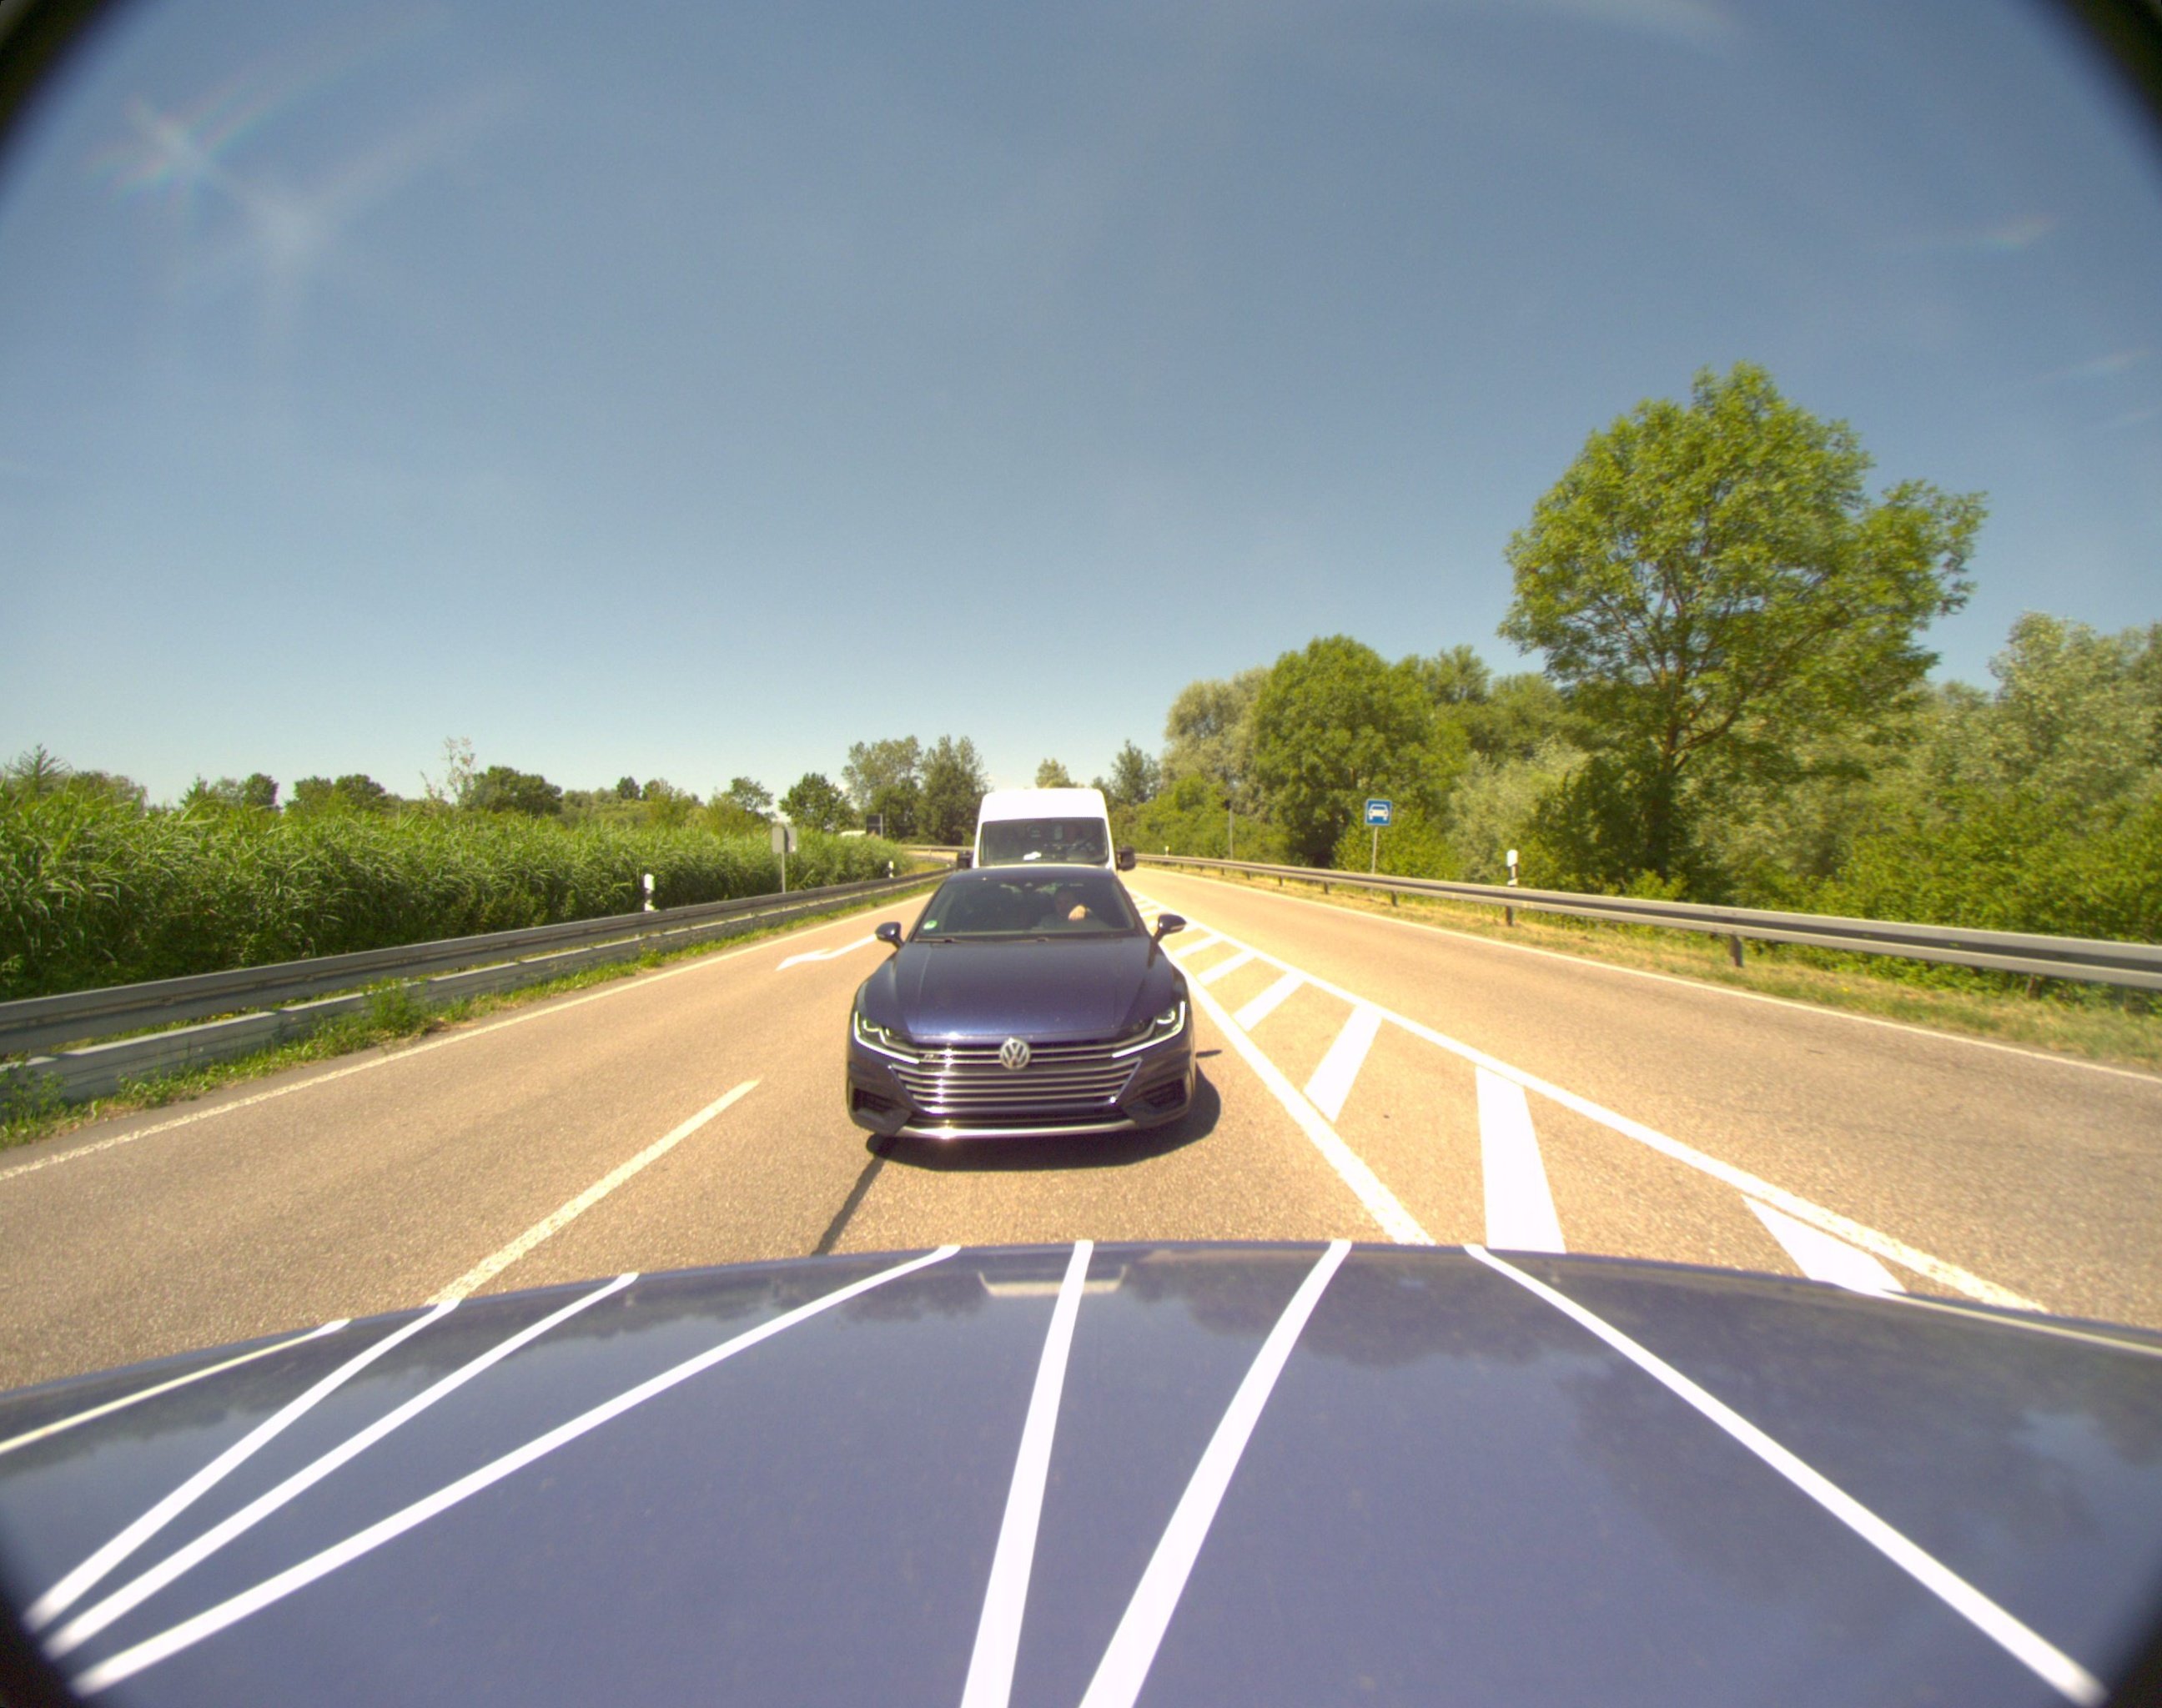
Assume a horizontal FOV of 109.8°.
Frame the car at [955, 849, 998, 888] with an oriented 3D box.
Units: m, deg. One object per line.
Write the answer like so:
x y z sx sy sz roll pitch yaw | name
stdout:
-4.707 0.624 34.691 1.673 1.591 3.552 -2 1 -4 | car

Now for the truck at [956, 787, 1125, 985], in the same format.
-0.676 0.357 12.283 2.011 2.365 5.909 -2 1 -4 | truck

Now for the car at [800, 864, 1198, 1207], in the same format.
-0.354 0.879 5.749 1.819 1.454 4.415 -2 1 1 | car

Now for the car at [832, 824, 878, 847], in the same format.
-27.564 -2.246 92.682 5.574 2.405 2.002 -1 7 34 | car
